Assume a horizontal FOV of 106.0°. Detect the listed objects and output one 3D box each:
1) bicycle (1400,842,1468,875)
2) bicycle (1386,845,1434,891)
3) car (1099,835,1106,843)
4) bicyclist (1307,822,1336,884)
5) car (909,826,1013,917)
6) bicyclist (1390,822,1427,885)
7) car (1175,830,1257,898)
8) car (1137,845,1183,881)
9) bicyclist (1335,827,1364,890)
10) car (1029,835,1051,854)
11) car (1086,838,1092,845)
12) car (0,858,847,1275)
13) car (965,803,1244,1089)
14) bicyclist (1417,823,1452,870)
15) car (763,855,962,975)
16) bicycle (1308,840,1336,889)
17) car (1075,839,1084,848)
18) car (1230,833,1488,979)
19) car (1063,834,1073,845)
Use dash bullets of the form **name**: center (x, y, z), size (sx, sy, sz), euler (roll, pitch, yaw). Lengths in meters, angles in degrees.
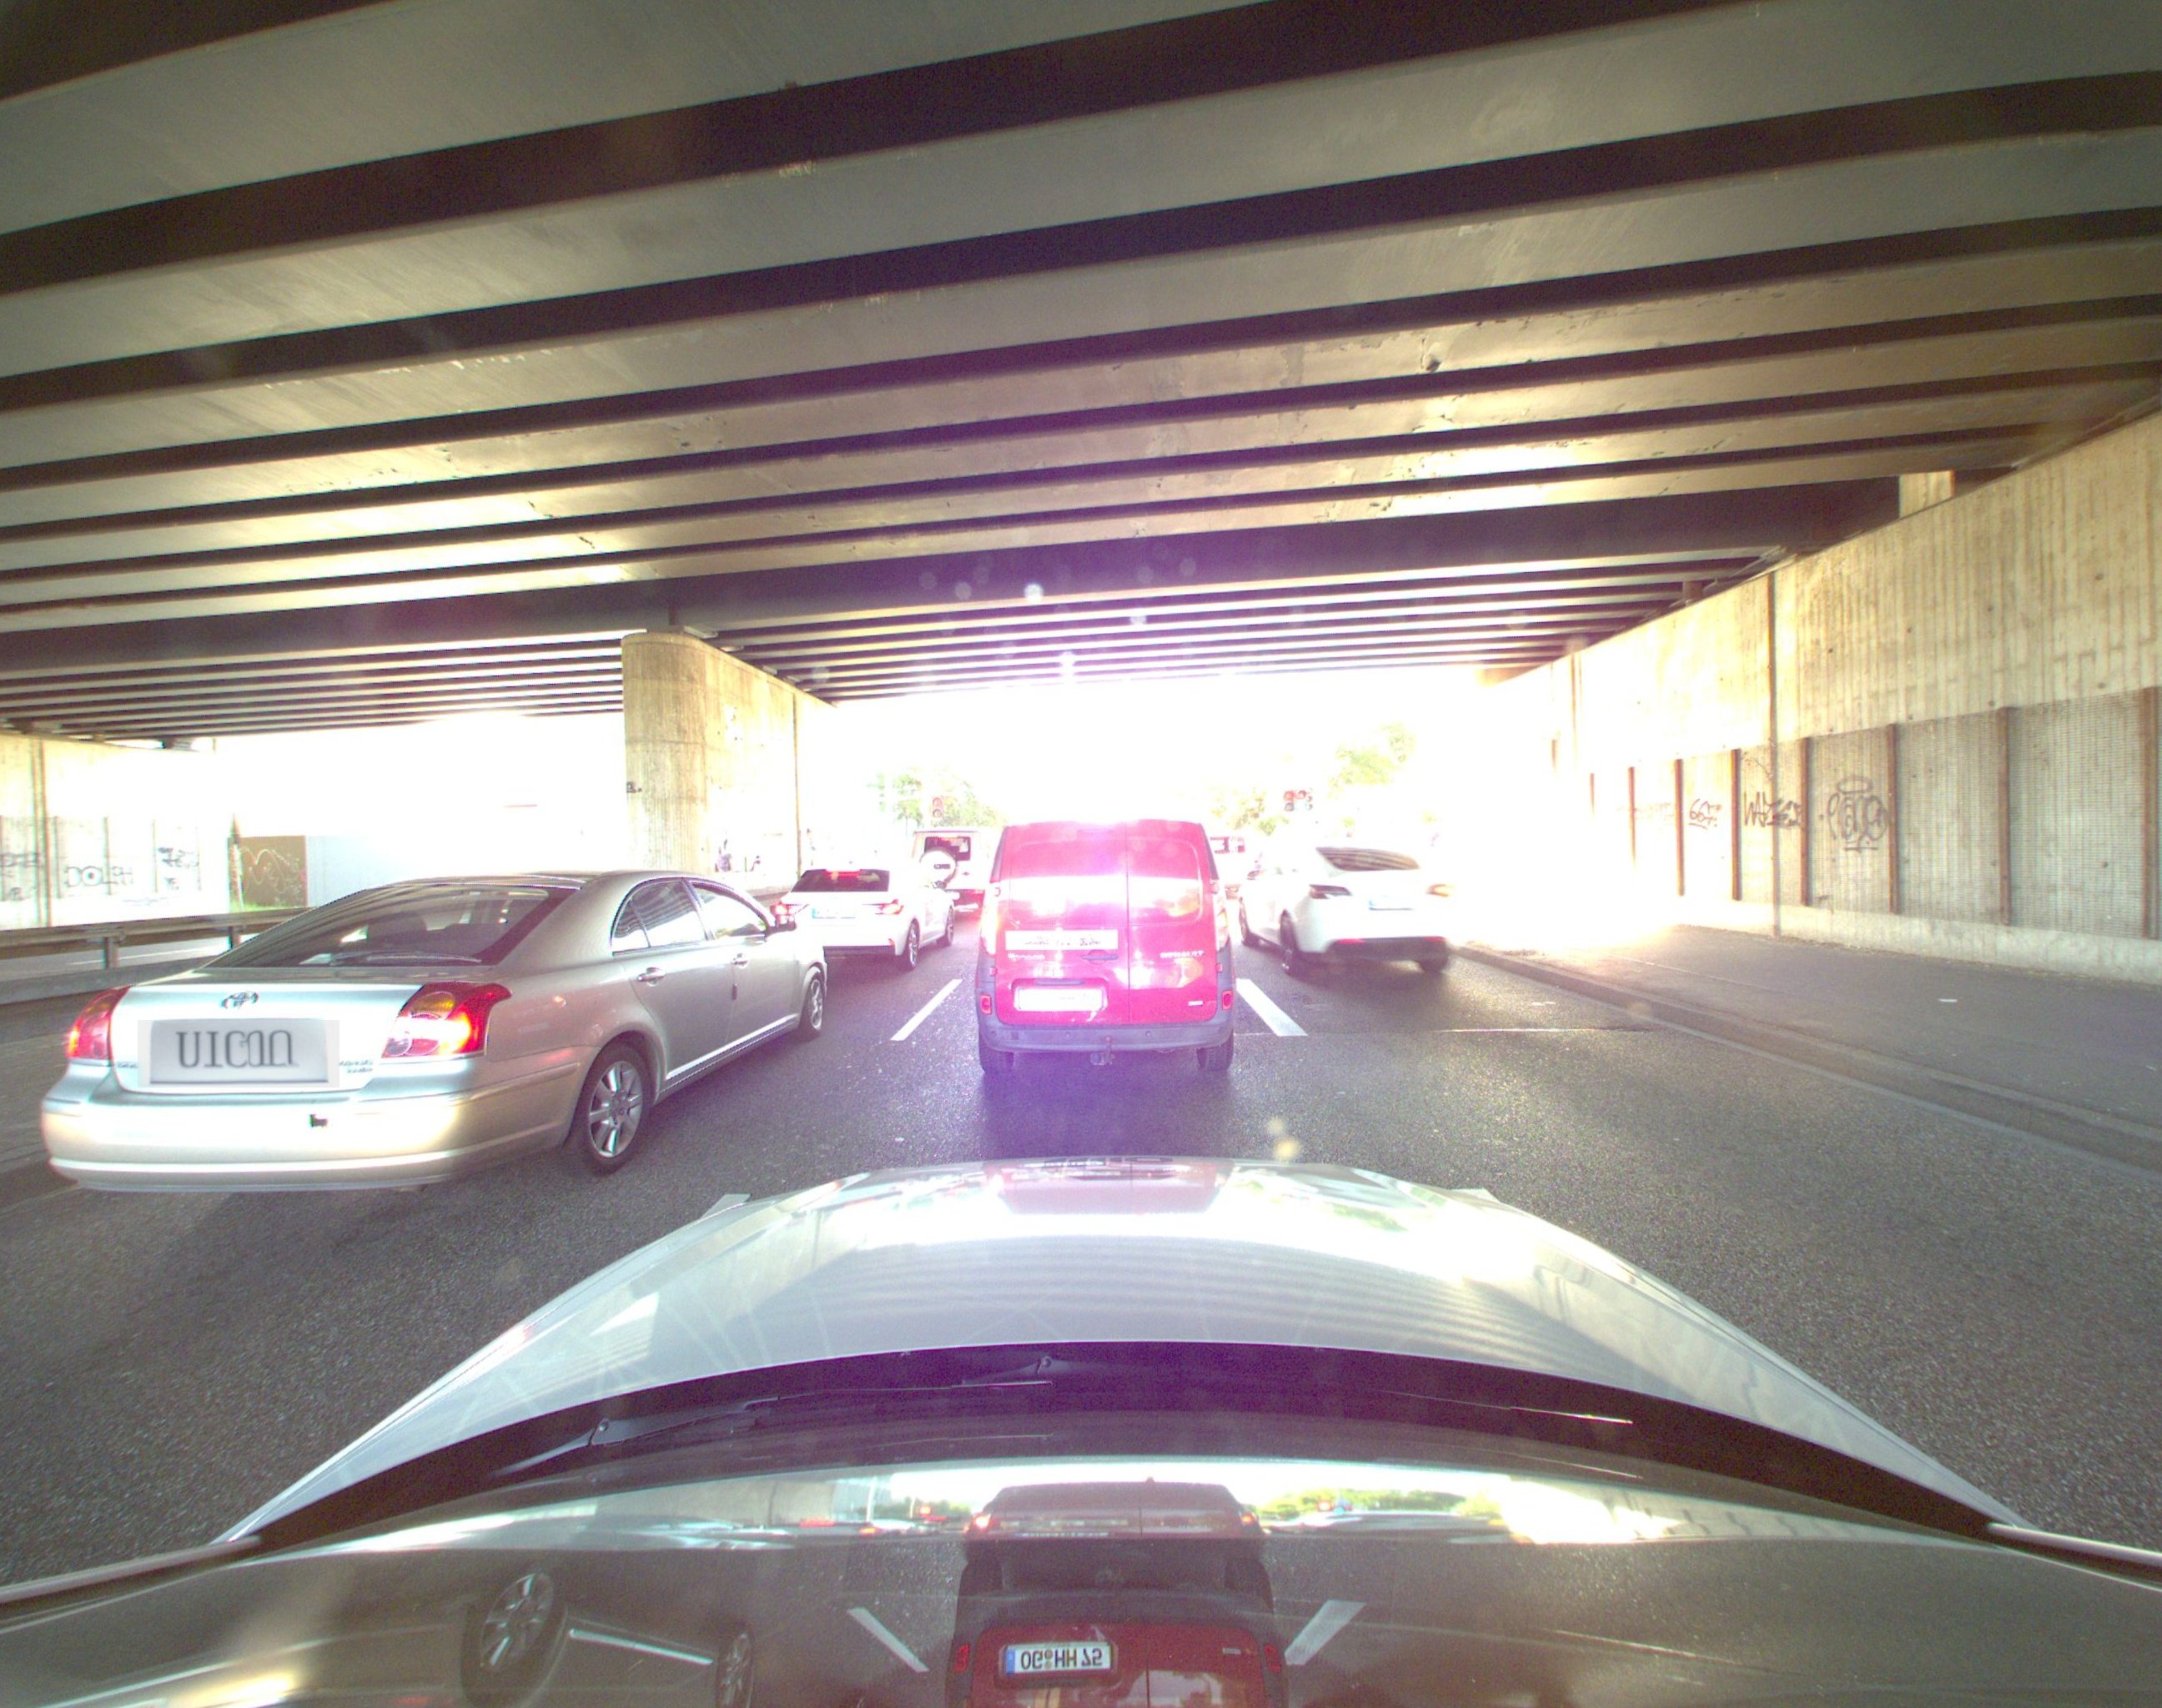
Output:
- **bicycle**: center (12.821, 0.166, 29.603), size (2.472, 1.146, 0.762), euler (-1, 0, -23)
- **bicycle**: center (8.318, 0.338, 20.631), size (0.677, 1.113, 1.606), euler (-2, -1, 6)
- **car**: center (5.838, -4.006, 220.860), size (1.986, 2.014, 4.001), euler (0, 0, 2)
- **bicyclist**: center (6.032, -0.021, 20.451), size (0.648, 1.534, 0.850), euler (-1, 0, 15)
- **car**: center (-2.690, 0.360, 19.092), size (1.807, 1.904, 3.814), euler (0, 0, 1)
- **bicyclist**: center (8.307, -0.011, 20.670), size (0.666, 1.561, 0.736), euler (-2, -1, 6)
- **car**: center (3.931, 0.228, 24.457), size (1.889, 1.836, 4.840), euler (0, 1, 3)
- **car**: center (3.344, 0.347, 35.072), size (1.739, 1.456, 3.718), euler (0, 0, 2)
- **bicyclist**: center (7.114, 0.118, 21.600), size (0.673, 1.629, 0.646), euler (0, -1, 12)
- **car**: center (-4.319, -1.000, 87.009), size (1.986, 2.014, 4.001), euler (0, 0, 2)
- **car**: center (2.374, -3.824, 241.333), size (1.922, 2.014, 3.915), euler (0, 0, 2)
- **car**: center (-2.998, 0.771, 5.121), size (1.690, 1.455, 4.399), euler (0, 0, 1)
- **car**: center (0.208, 0.566, 7.049), size (1.712, 1.764, 4.002), euler (0, 0, 2)
- **bicyclist**: center (12.858, -0.274, 29.622), size (0.887, 1.655, 0.743), euler (-1, 0, -23)
- **car**: center (-2.899, 0.737, 11.684), size (1.686, 1.410, 3.815), euler (0, 0, 2)
- **bicycle**: center (6.039, 0.262, 20.451), size (0.646, 1.167, 1.786), euler (-1, 0, 16)
- **car**: center (-0.281, -2.511, 195.803), size (1.986, 2.014, 4.001), euler (0, 0, 2)
- **car**: center (3.383, 0.563, 10.931), size (1.987, 1.551, 4.420), euler (0, 0, 0)
- **car**: center (-2.508, -2.756, 157.222), size (1.741, 2.014, 3.846), euler (0, 0, 2)
